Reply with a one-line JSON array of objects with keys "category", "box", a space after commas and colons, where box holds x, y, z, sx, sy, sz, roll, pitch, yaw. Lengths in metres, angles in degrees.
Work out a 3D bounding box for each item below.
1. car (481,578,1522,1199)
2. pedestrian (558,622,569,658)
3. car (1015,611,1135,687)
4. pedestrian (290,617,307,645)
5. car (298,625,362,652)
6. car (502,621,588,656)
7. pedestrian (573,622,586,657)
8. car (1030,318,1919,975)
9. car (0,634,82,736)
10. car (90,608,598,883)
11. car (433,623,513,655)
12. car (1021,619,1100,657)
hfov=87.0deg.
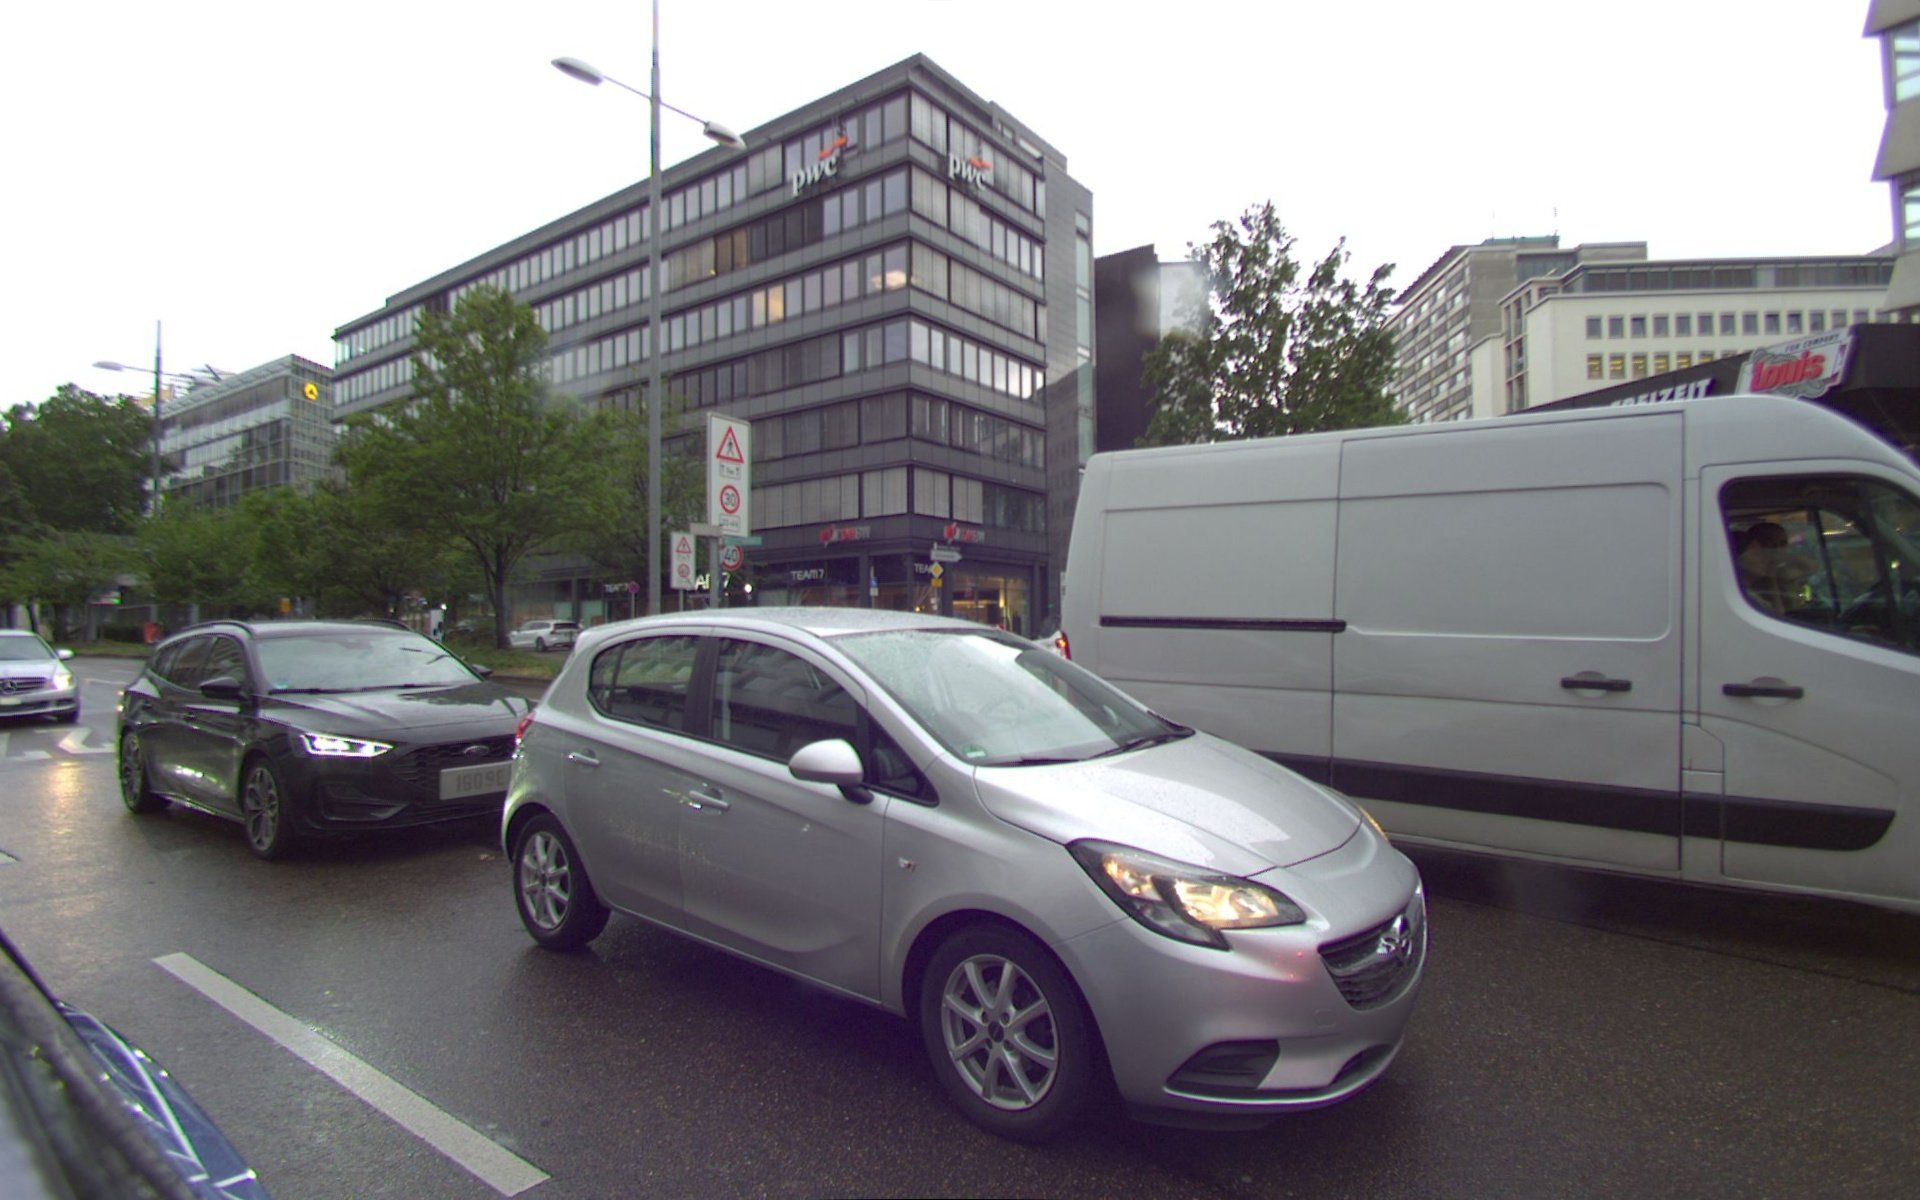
[{"category": "car", "box": [-0.161, 0.719, 3.958, 3.872, 1.446, 1.631, -2, -1, 40]}, {"category": "pedestrian", "box": [-22.890, 2.297, 58.426, 0.296, 2.029, 0.534, -2, -1, 35]}, {"category": "car", "box": [2.257, 0.940, 20.867, 1.725, 1.383, 4.003, -1, -1, -4]}, {"category": "pedestrian", "box": [-48.055, 2.238, 73.561, 0.539, 2.029, 0.917, -2, -1, 39]}, {"category": "car", "box": [-37.933, 2.297, 60.907, 3.992, 1.518, 1.975, -2, -1, 36]}, {"category": "car", "box": [-19.399, 1.793, 47.245, 3.992, 1.518, 1.975, -2, -1, 36]}, {"category": "pedestrian", "box": [-22.722, 2.360, 60.397, 0.460, 2.029, 0.568, -2, -1, 36]}, {"category": "car", "box": [3.205, 0.199, 5.286, 5.470, 2.459, 1.929, -2, -1, 37]}, {"category": "car", "box": [-14.981, 1.253, 15.434, 4.091, 1.391, 1.754, -2, -1, 39]}, {"category": "car", "box": [-4.591, 0.827, 7.325, 4.087, 1.446, 1.755, -2, -1, 37]}, {"category": "car", "box": [-24.588, 1.975, 51.096, 4.100, 1.518, 1.975, -2, -1, 36]}, {"category": "car", "box": [4.550, 1.664, 45.466, 1.847, 1.596, 3.716, -2, -1, 37]}]
